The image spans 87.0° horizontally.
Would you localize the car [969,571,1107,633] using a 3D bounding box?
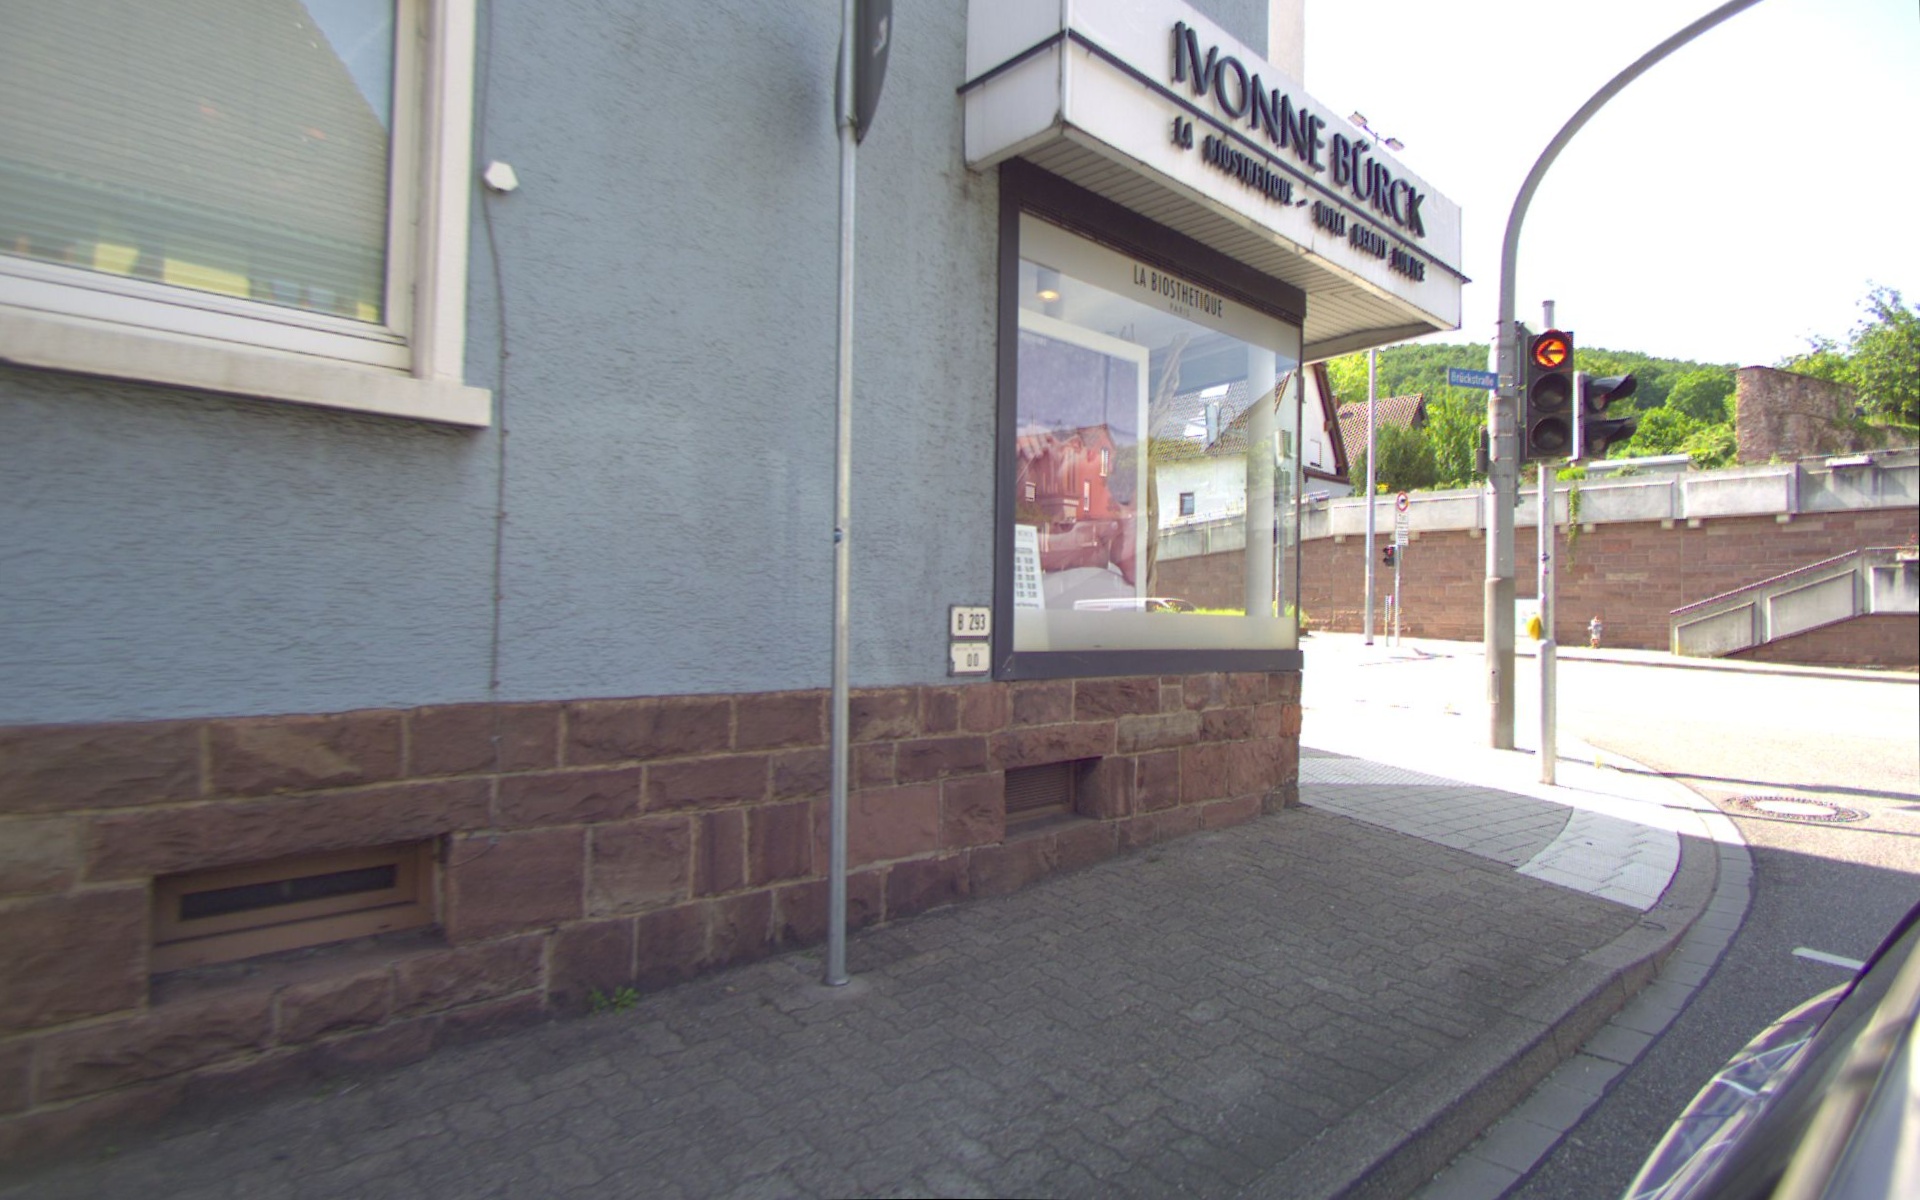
[{"bbox_3d":[2.148,-0.007,29.024,1.705,1.592,4.293,-1,2,-33],"label":"car"}]
